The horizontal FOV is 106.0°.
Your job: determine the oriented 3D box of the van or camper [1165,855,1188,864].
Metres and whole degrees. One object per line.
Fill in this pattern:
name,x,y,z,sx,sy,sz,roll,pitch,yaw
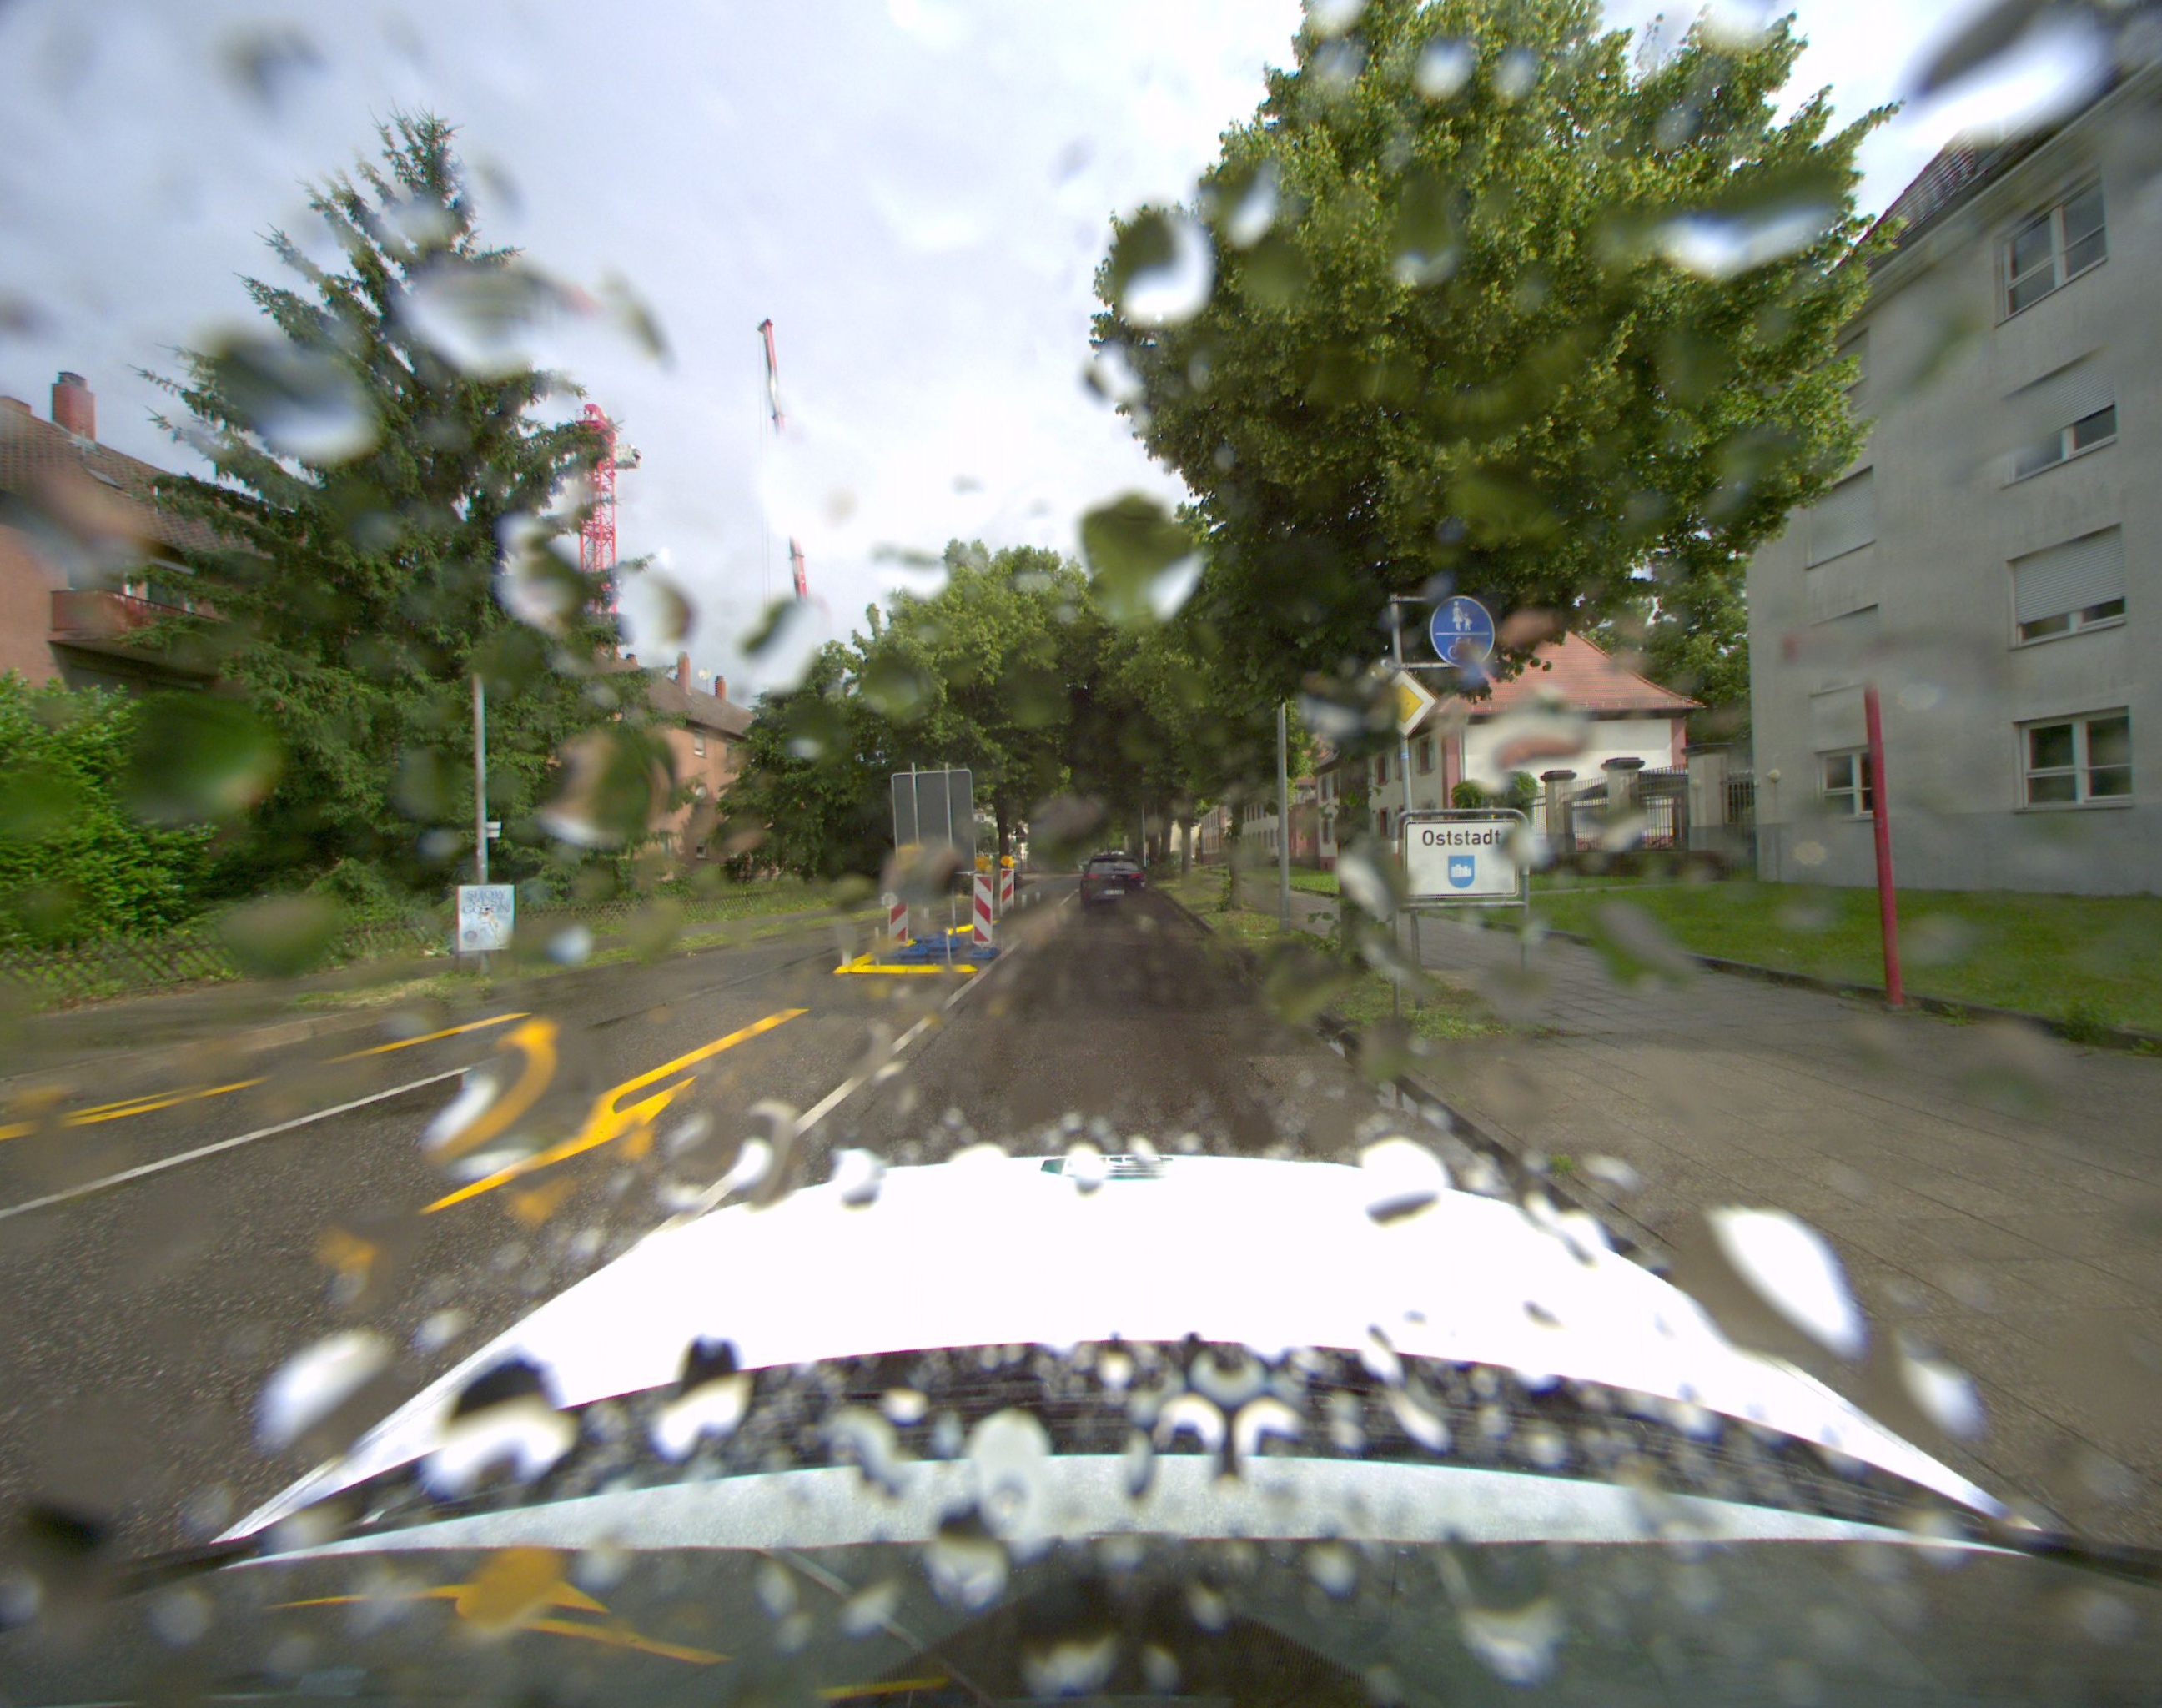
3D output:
van or camper,21.028,1.266,179.239,4.855,1.926,2.133,-1,0,2

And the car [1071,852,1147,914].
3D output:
car,0.814,0.762,22.555,1.887,1.522,4.003,-1,-1,3

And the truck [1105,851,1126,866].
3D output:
truck,6.677,0.878,158.728,2.803,2.656,8.219,-1,0,-7

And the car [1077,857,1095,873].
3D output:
car,0.615,1.301,96.898,1.879,1.713,4.232,-2,-1,3

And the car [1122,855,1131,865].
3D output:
car,11.512,1.471,207.956,1.983,2.014,4.005,-3,-6,6
